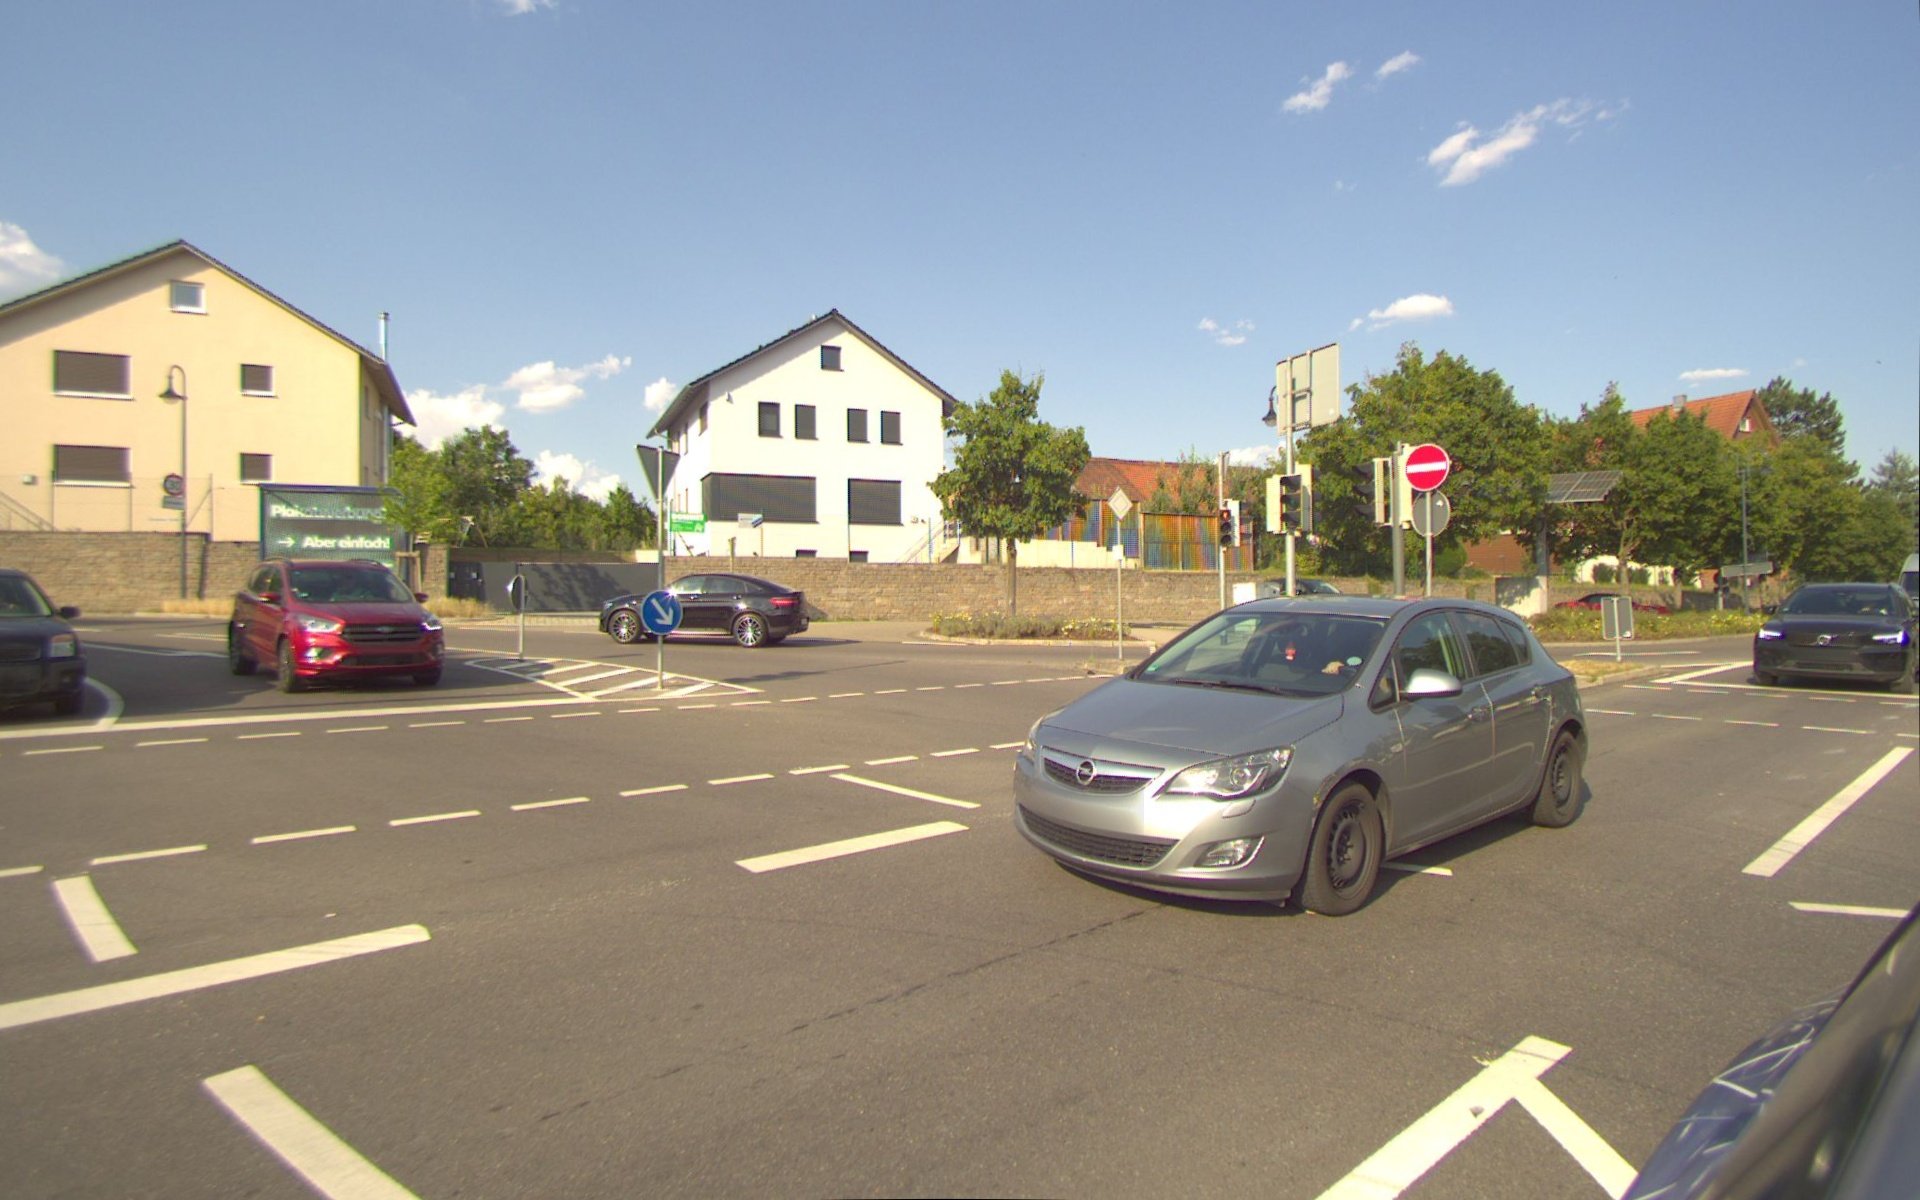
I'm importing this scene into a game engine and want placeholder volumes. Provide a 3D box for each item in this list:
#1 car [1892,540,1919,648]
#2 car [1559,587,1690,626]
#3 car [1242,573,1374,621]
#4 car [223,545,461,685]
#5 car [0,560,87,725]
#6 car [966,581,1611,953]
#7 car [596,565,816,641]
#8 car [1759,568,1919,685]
[{"bbox_3d":[26.803,-0.176,27.347,6.540,2.691,2.036,-1,1,-44],"label":"car"},{"bbox_3d":[26.222,0.228,40.068,1.714,1.449,4.002,0,0,-32],"label":"car"},{"bbox_3d":[11.294,-0.110,33.128,1.644,1.475,4.085,0,0,-28],"label":"car"},{"bbox_3d":[-8.653,0.171,14.015,4.239,1.646,1.833,0,0,44],"label":"car"},{"bbox_3d":[-10.642,0.376,10.671,3.781,1.561,1.576,1,1,40],"label":"car"},{"bbox_3d":[2.125,0.645,5.915,4.069,1.440,1.651,0,1,-39],"label":"car"},{"bbox_3d":[-5.567,0.073,22.504,4.414,1.586,1.843,0,0,4],"label":"car"},{"bbox_3d":[14.239,0.353,16.022,3.985,1.626,1.791,0,0,-41],"label":"car"}]
